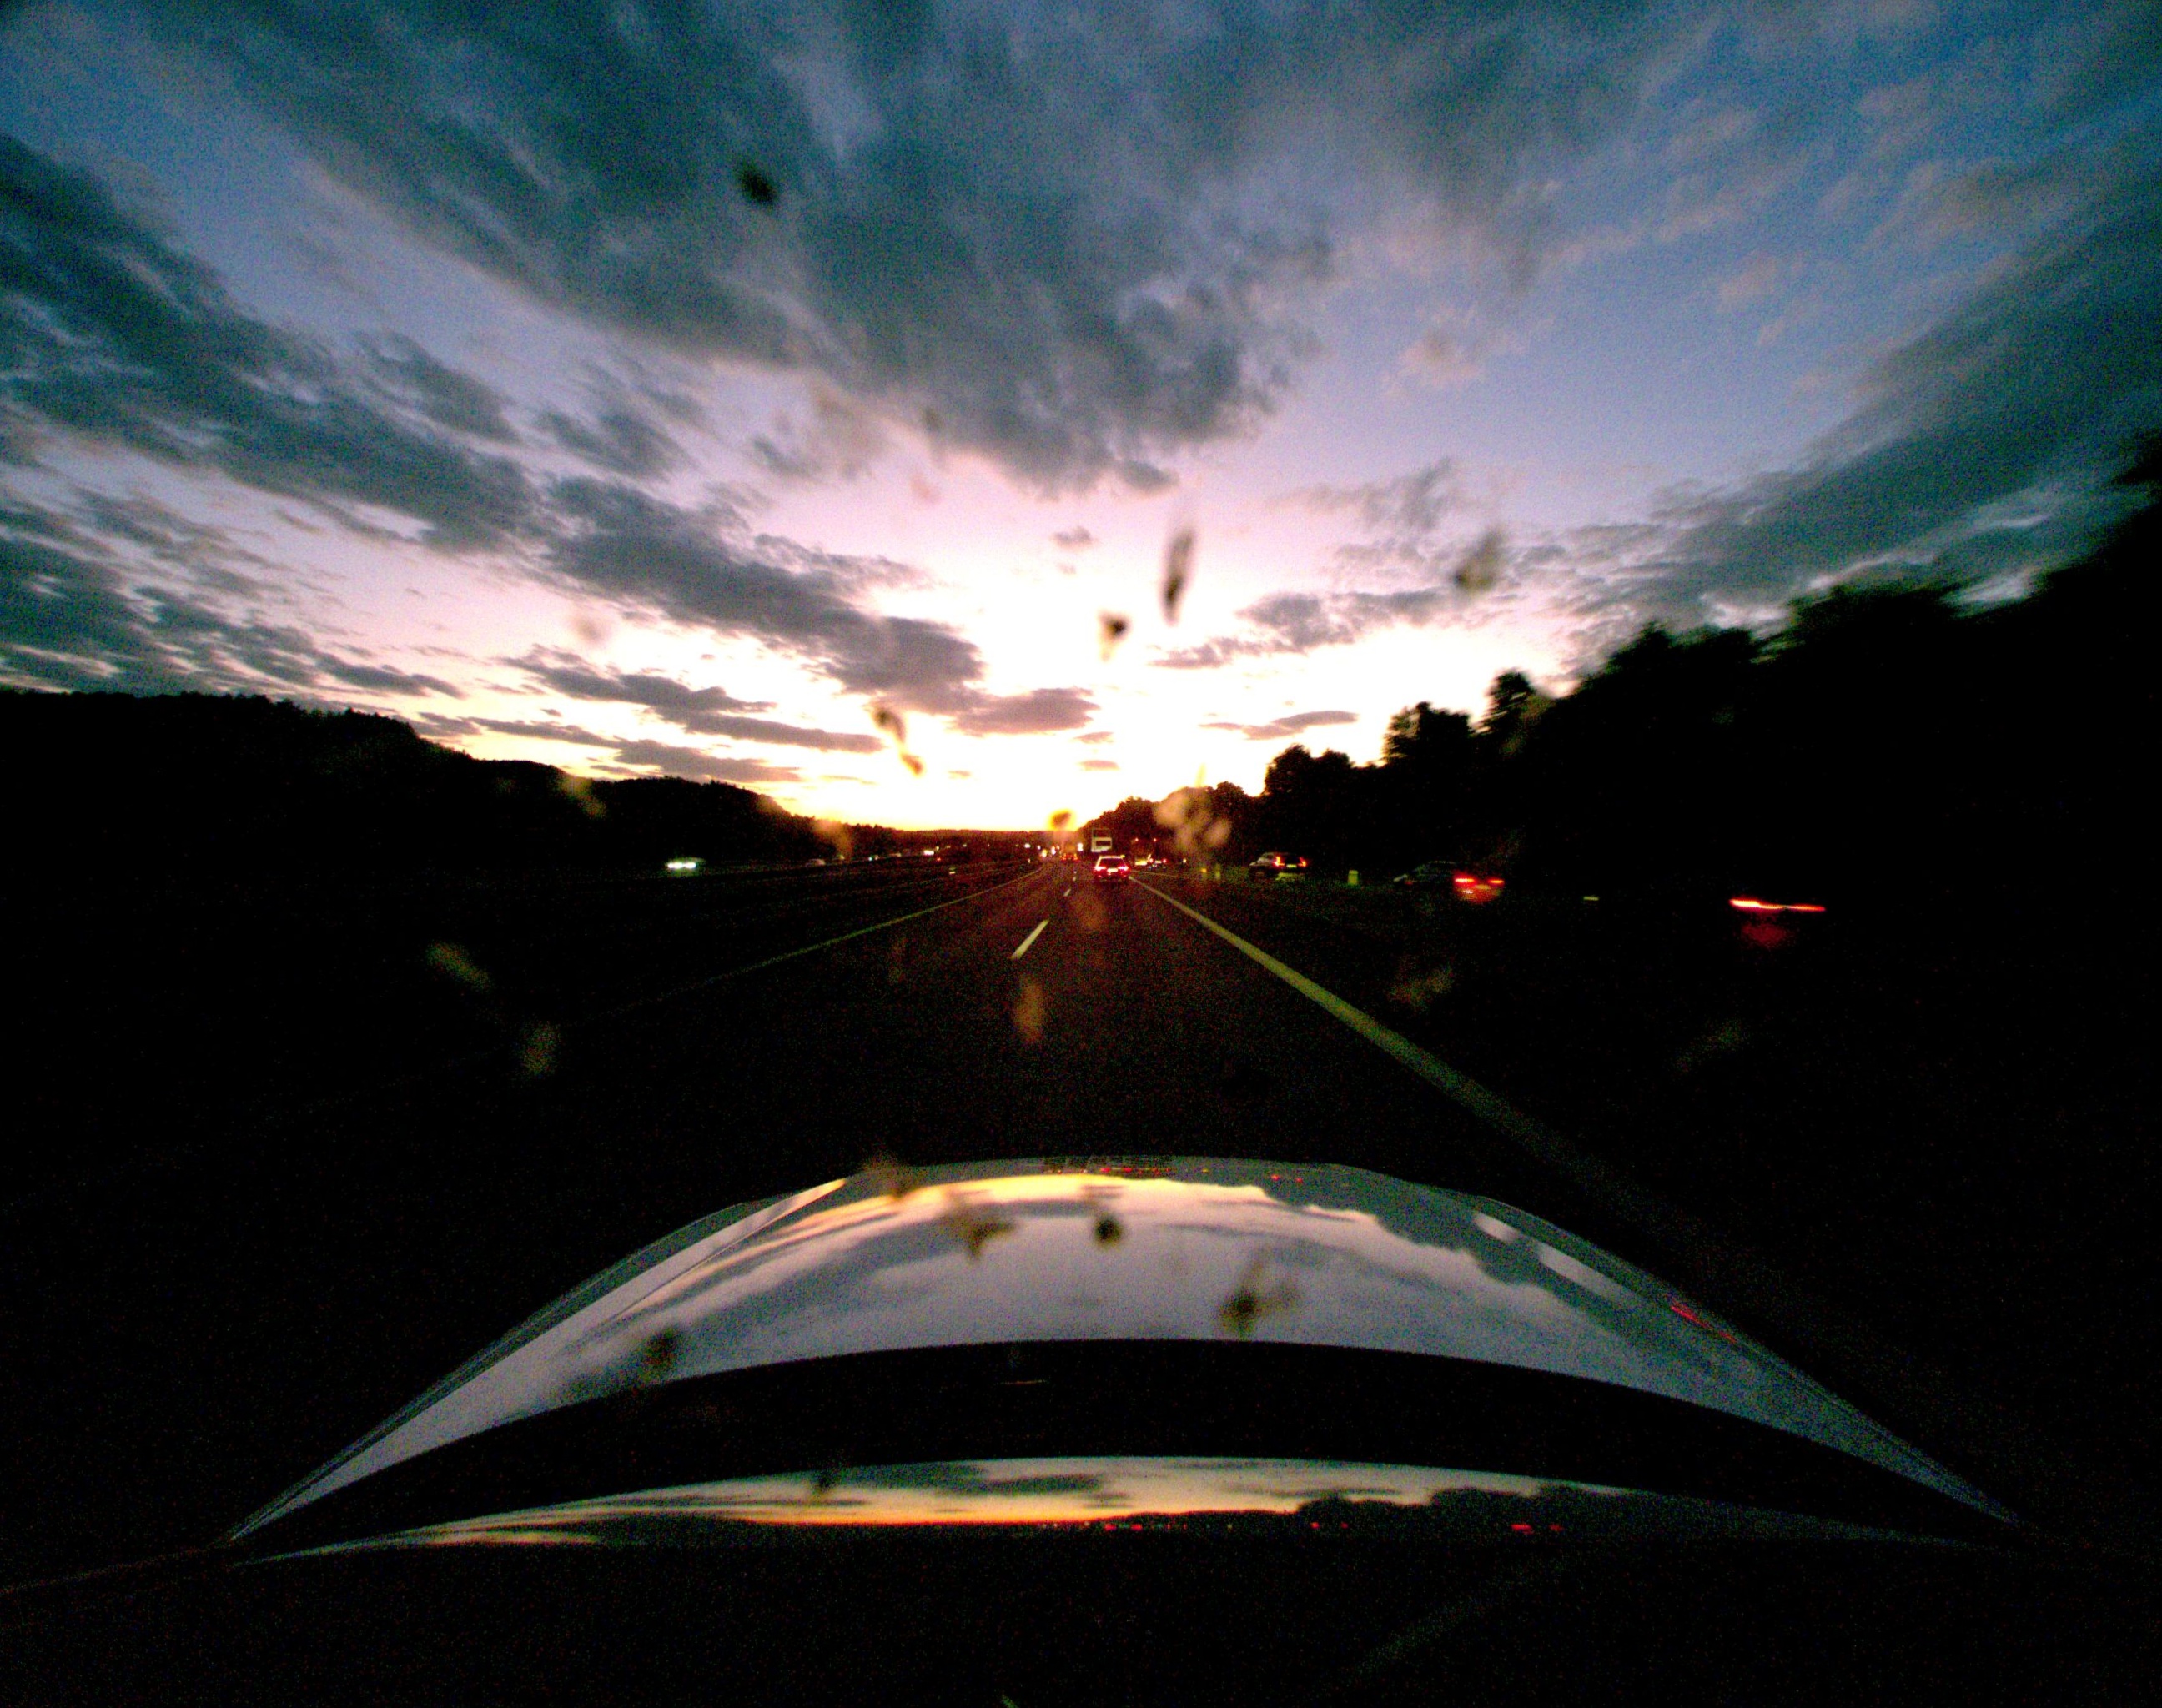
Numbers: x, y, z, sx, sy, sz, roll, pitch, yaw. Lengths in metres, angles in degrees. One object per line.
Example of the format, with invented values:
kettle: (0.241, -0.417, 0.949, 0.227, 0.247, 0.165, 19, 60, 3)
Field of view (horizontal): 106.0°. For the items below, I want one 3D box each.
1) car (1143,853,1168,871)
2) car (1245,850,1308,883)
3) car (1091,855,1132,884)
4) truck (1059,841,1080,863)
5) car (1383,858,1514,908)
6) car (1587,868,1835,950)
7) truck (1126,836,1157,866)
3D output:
car: (6.464, 0.688, 71.119, 1.608, 1.556, 3.312, 0, -1, -5)
car: (10.607, 0.662, 44.647, 1.795, 1.645, 5.151, -1, 0, -5)
car: (1.564, 0.798, 43.411, 1.910, 1.442, 3.997, 0, -1, -2)
truck: (-2.360, -0.381, 163.628, 3.504, 4.301, 9.875, 0, -1, -4)
car: (12.613, 0.941, 28.377, 1.796, 1.492, 5.105, 2, 0, -7)
car: (13.757, 1.123, 18.186, 1.796, 1.492, 4.425, 2, 0, -7)
truck: (6.327, -0.329, 86.130, 2.264, 2.972, 6.620, 2, 0, -5)
